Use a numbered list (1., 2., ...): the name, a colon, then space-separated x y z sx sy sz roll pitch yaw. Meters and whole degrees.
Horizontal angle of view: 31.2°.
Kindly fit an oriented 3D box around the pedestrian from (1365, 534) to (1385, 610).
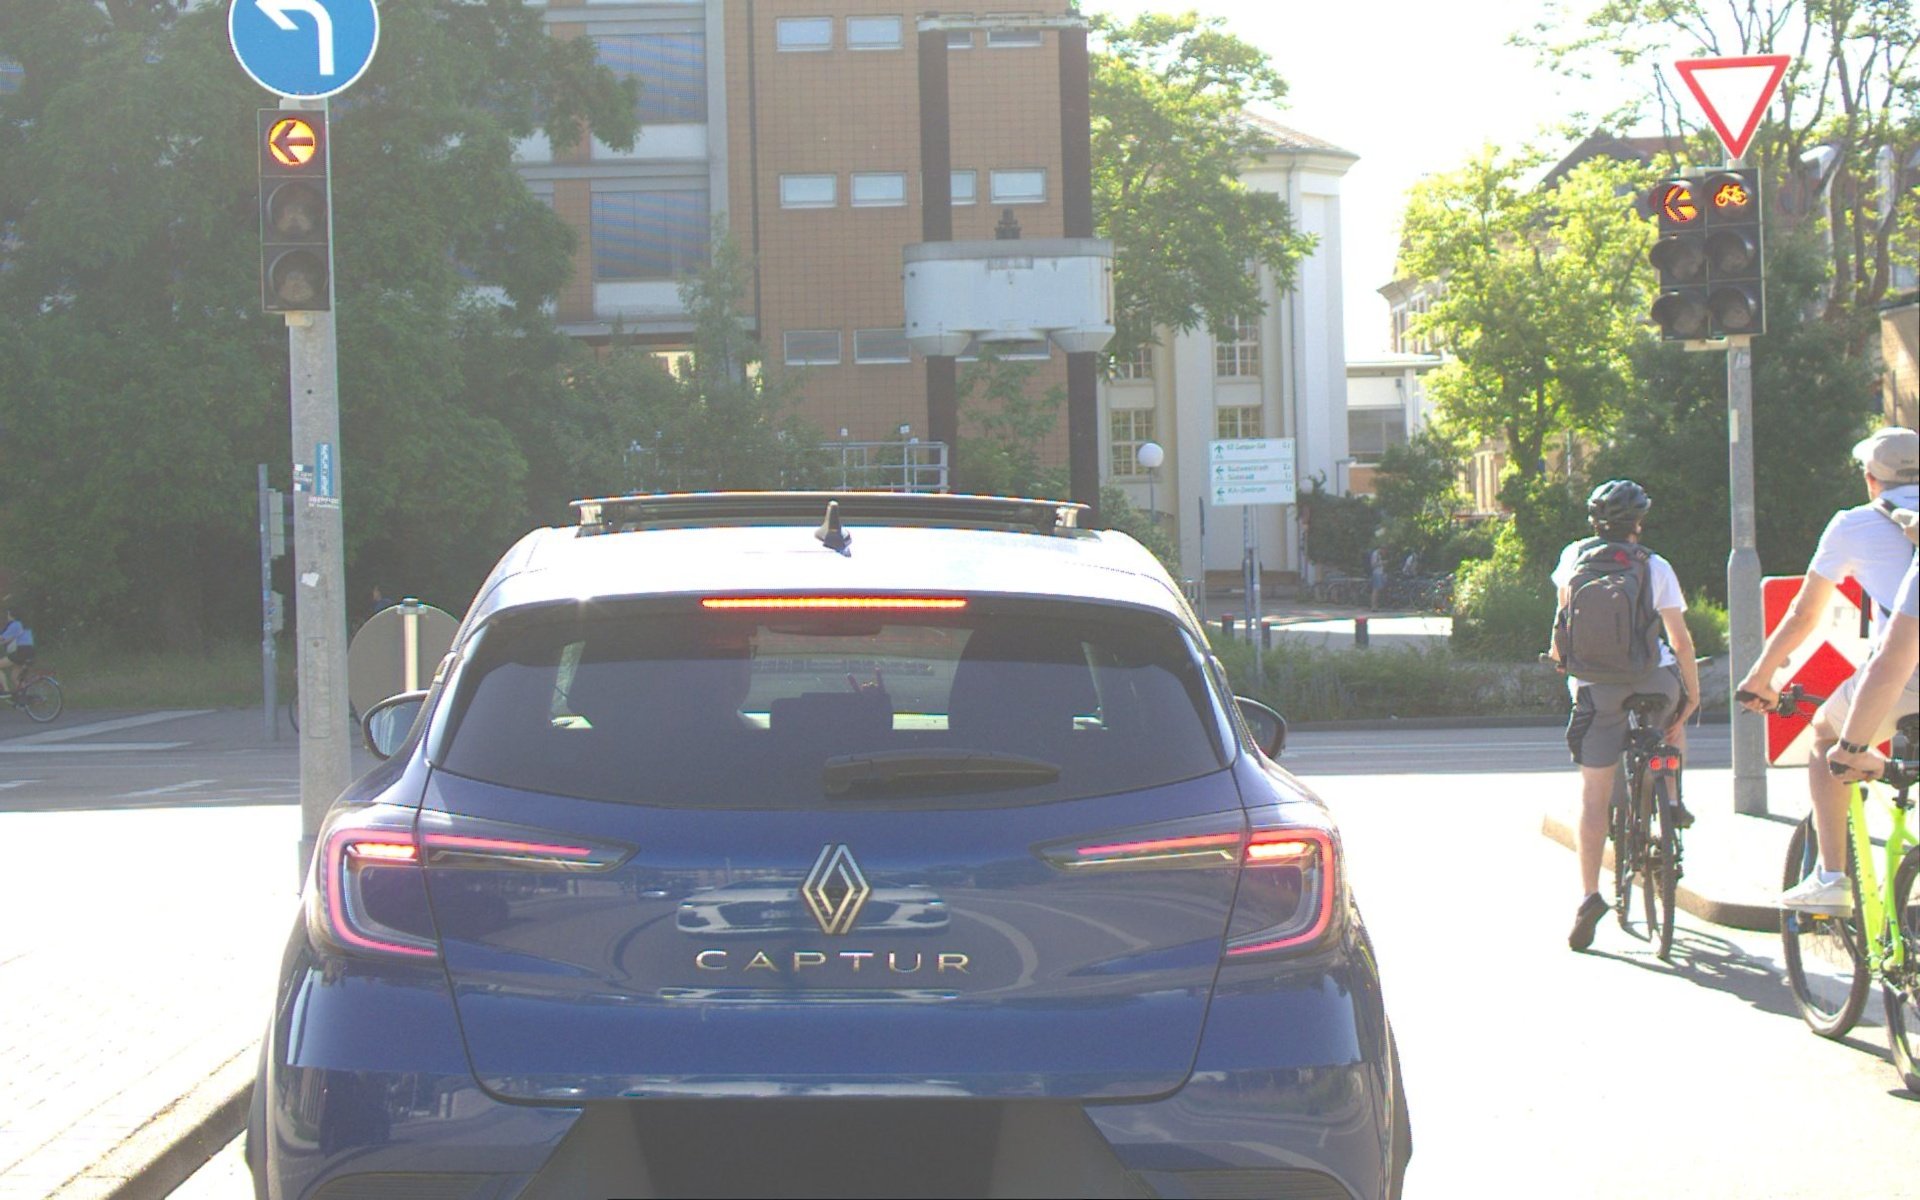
1. pedestrian: 10.977 -0.747 91.042 0.475 2.007 0.523 -1 1 6

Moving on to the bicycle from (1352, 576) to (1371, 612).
1. bicycle: 10.987 -0.173 94.079 0.405 0.969 1.683 1 1 4

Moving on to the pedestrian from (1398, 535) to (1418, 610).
1. pedestrian: 12.034 -0.745 92.394 0.475 2.007 0.468 -1 1 6

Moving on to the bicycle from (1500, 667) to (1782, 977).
1. bicycle: 2.510 0.783 12.900 0.739 0.992 2.173 1 1 3

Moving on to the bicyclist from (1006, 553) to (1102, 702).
1. bicyclist: 1.206 0.343 43.808 1.102 1.861 0.652 -1 1 10

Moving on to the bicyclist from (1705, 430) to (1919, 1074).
1. bicyclist: 2.622 0.408 9.809 0.645 1.733 1.067 1 0 -6

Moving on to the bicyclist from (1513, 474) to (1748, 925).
1. bicyclist: 2.508 0.356 12.944 0.726 1.623 0.969 1 0 4

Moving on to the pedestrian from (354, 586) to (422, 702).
1. pedestrian: -7.994 0.607 48.076 0.737 1.598 0.598 -1 1 12

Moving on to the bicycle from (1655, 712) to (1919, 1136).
1. bicycle: 2.612 0.867 9.820 0.659 0.999 1.970 1 1 -6

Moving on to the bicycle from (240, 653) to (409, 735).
1. bicycle: -8.083 1.191 43.768 2.005 0.961 0.598 -2 1 -27

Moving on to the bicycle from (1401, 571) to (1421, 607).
1. bicycle: 12.377 -0.300 94.402 0.405 0.969 1.683 1 1 4

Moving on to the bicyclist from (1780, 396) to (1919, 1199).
1. bicyclist: 2.231 0.433 7.244 0.751 1.663 1.016 1 0 1

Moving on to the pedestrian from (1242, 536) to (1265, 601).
1. pedestrian: 8.496 -0.912 99.473 0.623 1.849 0.563 -1 1 3

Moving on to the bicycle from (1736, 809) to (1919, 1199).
1. bicycle: 2.228 0.963 7.255 0.740 0.893 1.978 1 1 1

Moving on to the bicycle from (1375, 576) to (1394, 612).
1. bicycle: 11.609 -0.164 94.036 0.405 0.969 1.683 1 1 4

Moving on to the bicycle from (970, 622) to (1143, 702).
1. bicycle: 1.229 0.790 43.647 2.082 0.927 0.696 -2 2 11

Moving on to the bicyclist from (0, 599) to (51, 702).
1. bicyclist: -13.444 0.713 48.627 0.937 1.424 0.598 -1 1 15

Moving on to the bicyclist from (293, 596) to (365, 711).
1. bicyclist: -8.035 0.677 43.785 0.737 1.436 0.598 -2 1 -27

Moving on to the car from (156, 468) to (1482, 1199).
1. car: -0.268 0.615 6.695 1.803 1.626 4.000 0 1 -2

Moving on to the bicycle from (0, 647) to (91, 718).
1. bicycle: -13.392 1.169 48.619 2.077 0.961 0.598 -1 1 15

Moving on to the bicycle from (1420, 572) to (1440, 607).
1. bicycle: 12.913 -0.293 94.416 0.405 0.969 1.683 1 1 4
